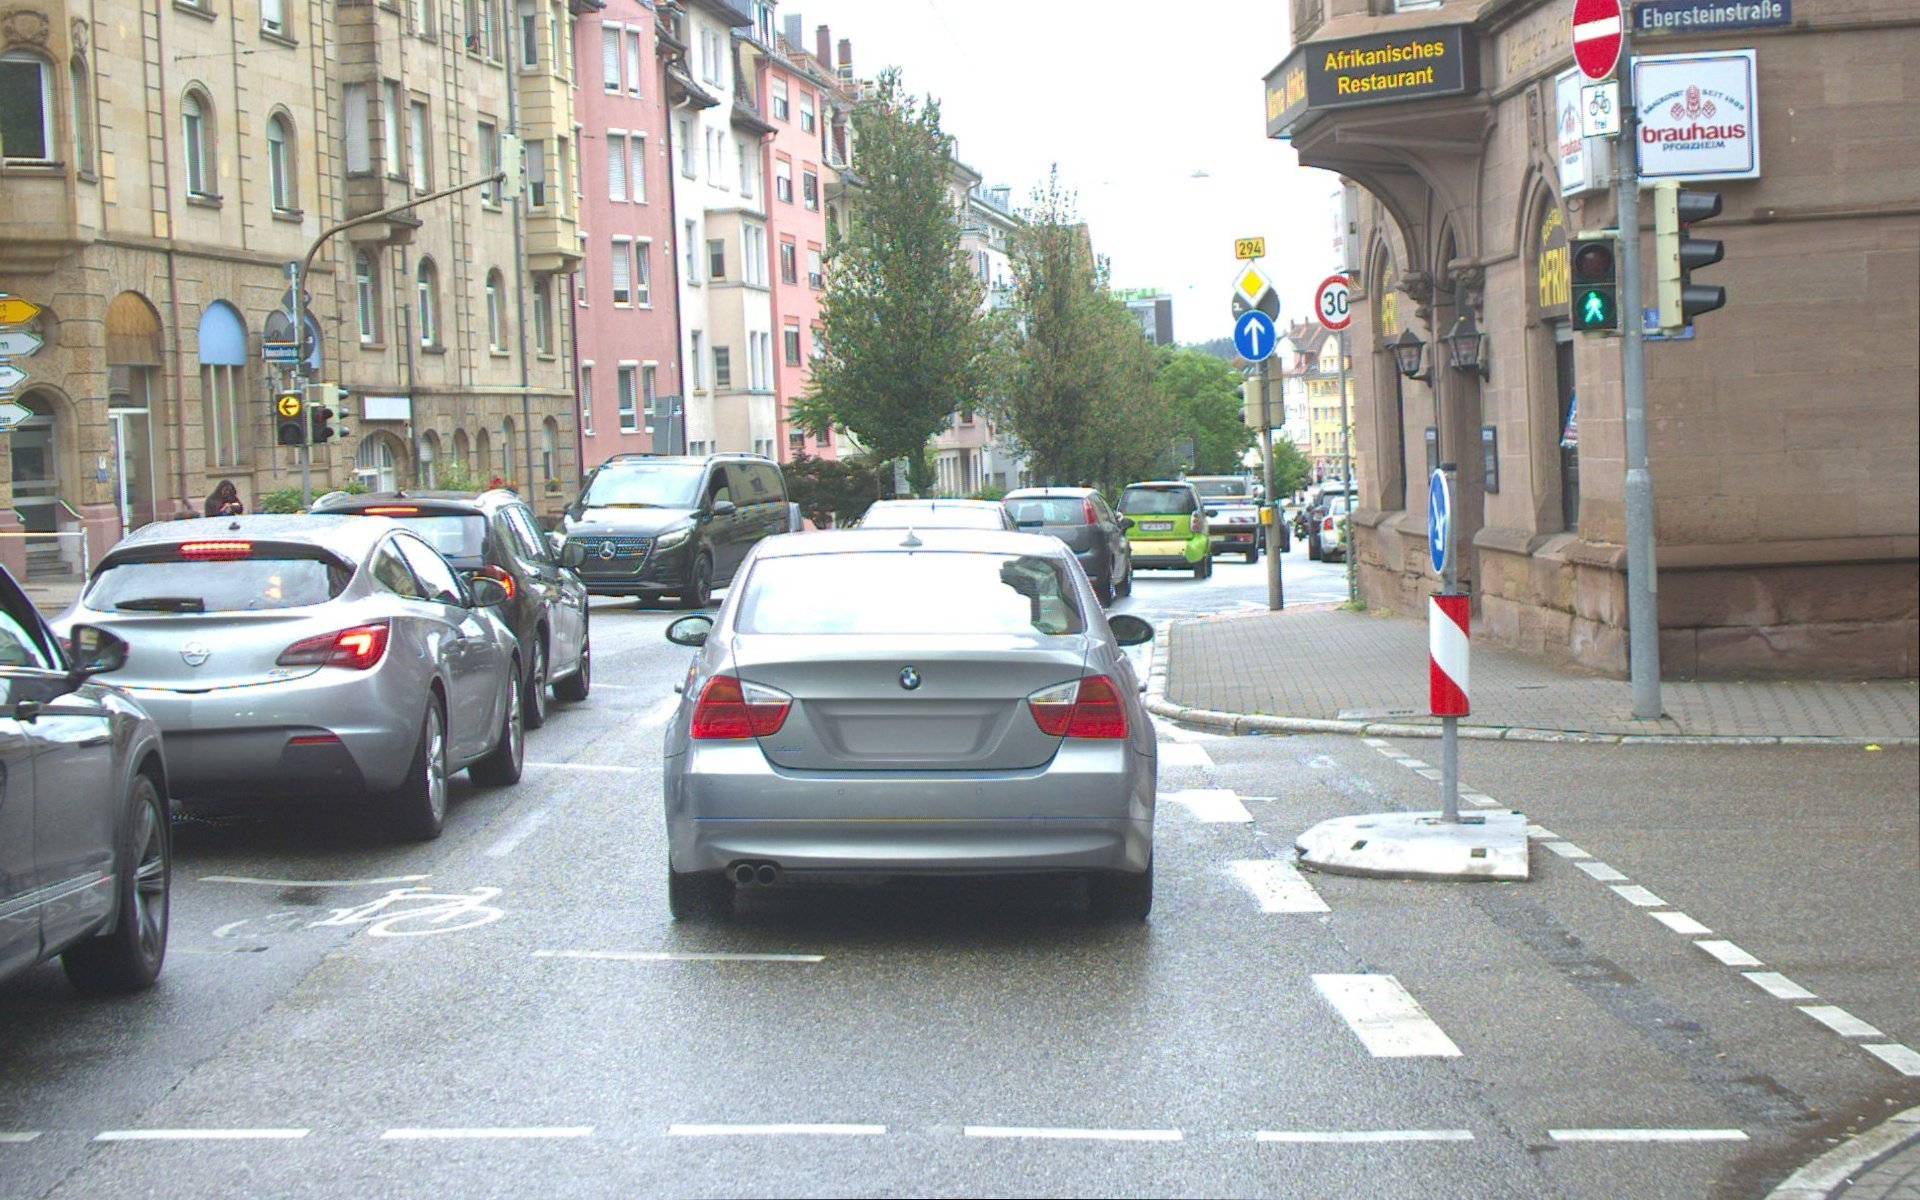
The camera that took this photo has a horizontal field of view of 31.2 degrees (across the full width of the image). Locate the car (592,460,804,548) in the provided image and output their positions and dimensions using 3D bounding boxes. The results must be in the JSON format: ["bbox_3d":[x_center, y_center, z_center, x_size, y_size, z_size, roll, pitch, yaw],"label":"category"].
[{"bbox_3d":[-5.865,-2.168,77.386,4.674,1.932,1.863,0,2,-2],"label":"car"}]

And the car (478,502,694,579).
[{"bbox_3d":[-7.846,-1.256,72.322,4.148,1.505,1.873,-1,2,7],"label":"car"}]

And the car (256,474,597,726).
[{"bbox_3d":[-3.497,-0.029,23.213,1.752,1.530,4.215,-1,1,-2],"label":"car"}]

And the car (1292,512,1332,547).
[{"bbox_3d":[17.631,-3.542,171.938,1.879,1.725,4.676,0,2,7],"label":"car"}]

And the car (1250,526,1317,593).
[{"bbox_3d":[9.420,-1.159,100.012,1.813,1.897,3.999,1,0,7],"label":"car"}]

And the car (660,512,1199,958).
[{"bbox_3d":[-0.158,0.400,13.212,1.769,1.423,3.741,0,2,-2],"label":"car"}]

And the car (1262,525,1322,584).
[{"bbox_3d":[10.579,-1.426,109.347,1.778,1.792,3.999,1,0,7],"label":"car"}]

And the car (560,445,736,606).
[{"bbox_3d":[-3.838,-0.930,42.888,1.742,1.840,4.147,-2,1,0],"label":"car"}]

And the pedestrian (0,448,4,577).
[{"bbox_3d":[-13.483,-1.207,47.451,0.522,1.768,0.694,-1,2,-17],"label":"pedestrian"}]

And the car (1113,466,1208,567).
[{"bbox_3d":[3.208,-1.317,55.025,1.449,1.560,3.332,-1,1,3],"label":"car"}]

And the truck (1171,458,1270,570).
[{"bbox_3d":[5.886,-1.910,77.128,2.032,2.404,4.826,-1,1,6],"label":"truck"}]

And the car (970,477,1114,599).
[{"bbox_3d":[1.092,-0.785,44.184,1.697,1.478,3.793,-1,1,3],"label":"car"}]

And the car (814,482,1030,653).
[{"bbox_3d":[-0.286,-0.304,30.932,1.682,1.423,3.741,-1,1,3],"label":"car"}]

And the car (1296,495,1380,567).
[{"bbox_3d":[8.480,-1.560,77.256,1.799,1.559,4.492,0,1,6],"label":"car"}]

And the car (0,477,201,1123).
[{"bbox_3d":[-3.404,0.520,9.539,1.752,1.638,4.213,-1,3,-2],"label":"car"}]

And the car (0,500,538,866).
[{"bbox_3d":[-3.188,0.291,16.513,1.752,1.478,4.181,-1,2,0],"label":"car"}]

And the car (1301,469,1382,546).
[{"bbox_3d":[9.851,-2.379,88.601,1.920,1.821,5.008,-3,1,7],"label":"car"}]

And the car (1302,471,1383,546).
[{"bbox_3d":[9.207,-2.177,82.562,1.879,1.725,4.676,0,1,7],"label":"car"}]

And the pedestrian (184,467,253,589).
[{"bbox_3d":[-10.447,-1.023,48.428,0.826,1.696,0.639,-1,2,-23],"label":"pedestrian"}]
